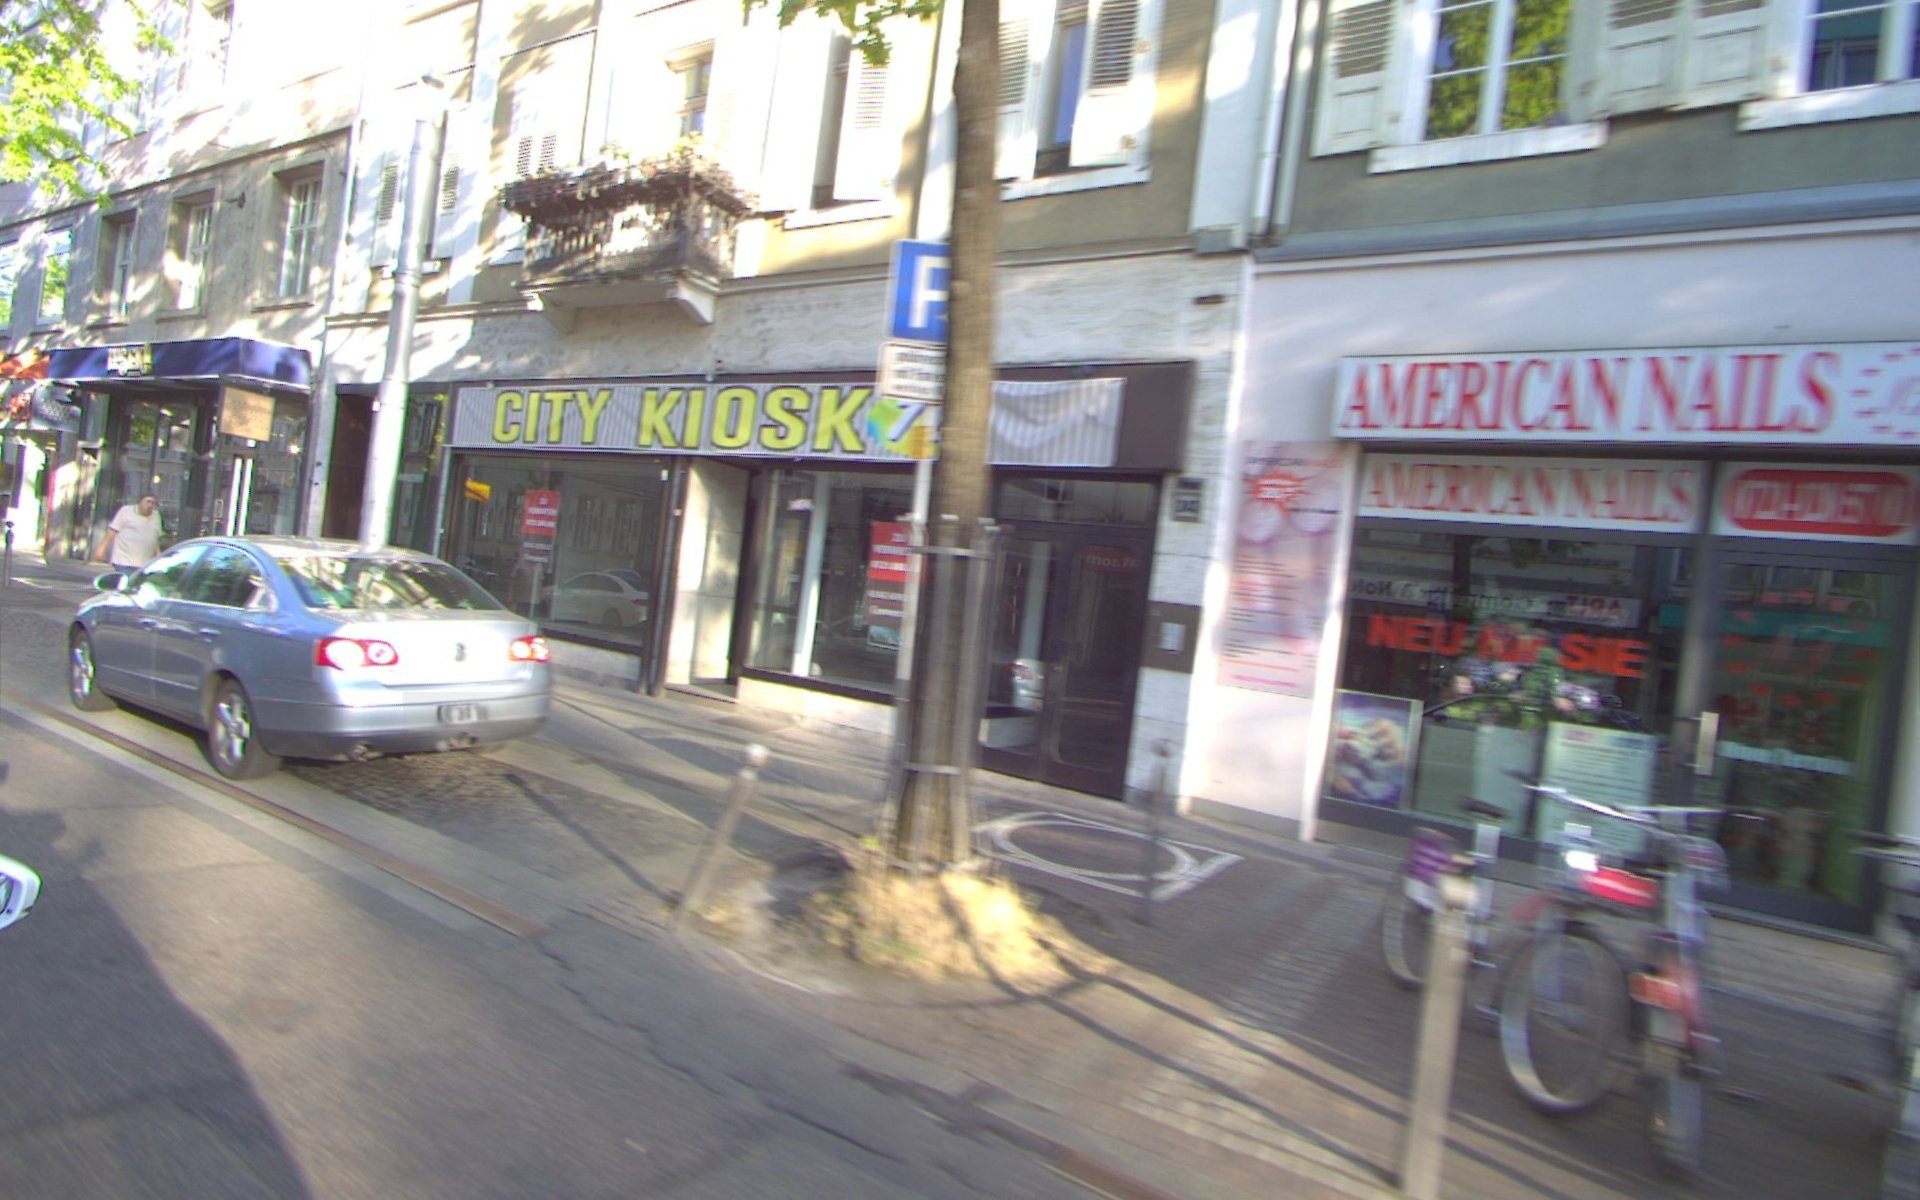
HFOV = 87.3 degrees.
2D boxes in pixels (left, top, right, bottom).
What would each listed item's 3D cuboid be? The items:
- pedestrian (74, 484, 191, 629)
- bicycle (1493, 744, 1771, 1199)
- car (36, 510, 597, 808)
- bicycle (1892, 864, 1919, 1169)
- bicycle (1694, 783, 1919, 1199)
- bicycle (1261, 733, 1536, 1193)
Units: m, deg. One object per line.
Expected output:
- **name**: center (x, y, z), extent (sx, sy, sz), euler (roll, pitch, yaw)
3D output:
- **pedestrian**: center (-10.221, -0.528, 12.431), extent (0.743, 1.663, 0.804), euler (7, 1, 32)
- **bicycle**: center (2.401, 1.205, 3.641), extent (0.553, 1.169, 1.866), euler (6, 1, 34)
- **car**: center (-4.853, 0.257, 7.391), extent (4.350, 1.459, 1.776), euler (6, 1, 33)
- **bicycle**: center (3.334, 1.354, 2.900), extent (0.553, 1.168, 1.869), euler (6, -2, 34)
- **bicycle**: center (2.838, 1.269, 3.254), extent (0.553, 1.168, 1.869), euler (6, -2, 34)
- **bicycle**: center (1.771, 1.189, 3.877), extent (0.553, 1.169, 1.866), euler (6, 1, 34)
